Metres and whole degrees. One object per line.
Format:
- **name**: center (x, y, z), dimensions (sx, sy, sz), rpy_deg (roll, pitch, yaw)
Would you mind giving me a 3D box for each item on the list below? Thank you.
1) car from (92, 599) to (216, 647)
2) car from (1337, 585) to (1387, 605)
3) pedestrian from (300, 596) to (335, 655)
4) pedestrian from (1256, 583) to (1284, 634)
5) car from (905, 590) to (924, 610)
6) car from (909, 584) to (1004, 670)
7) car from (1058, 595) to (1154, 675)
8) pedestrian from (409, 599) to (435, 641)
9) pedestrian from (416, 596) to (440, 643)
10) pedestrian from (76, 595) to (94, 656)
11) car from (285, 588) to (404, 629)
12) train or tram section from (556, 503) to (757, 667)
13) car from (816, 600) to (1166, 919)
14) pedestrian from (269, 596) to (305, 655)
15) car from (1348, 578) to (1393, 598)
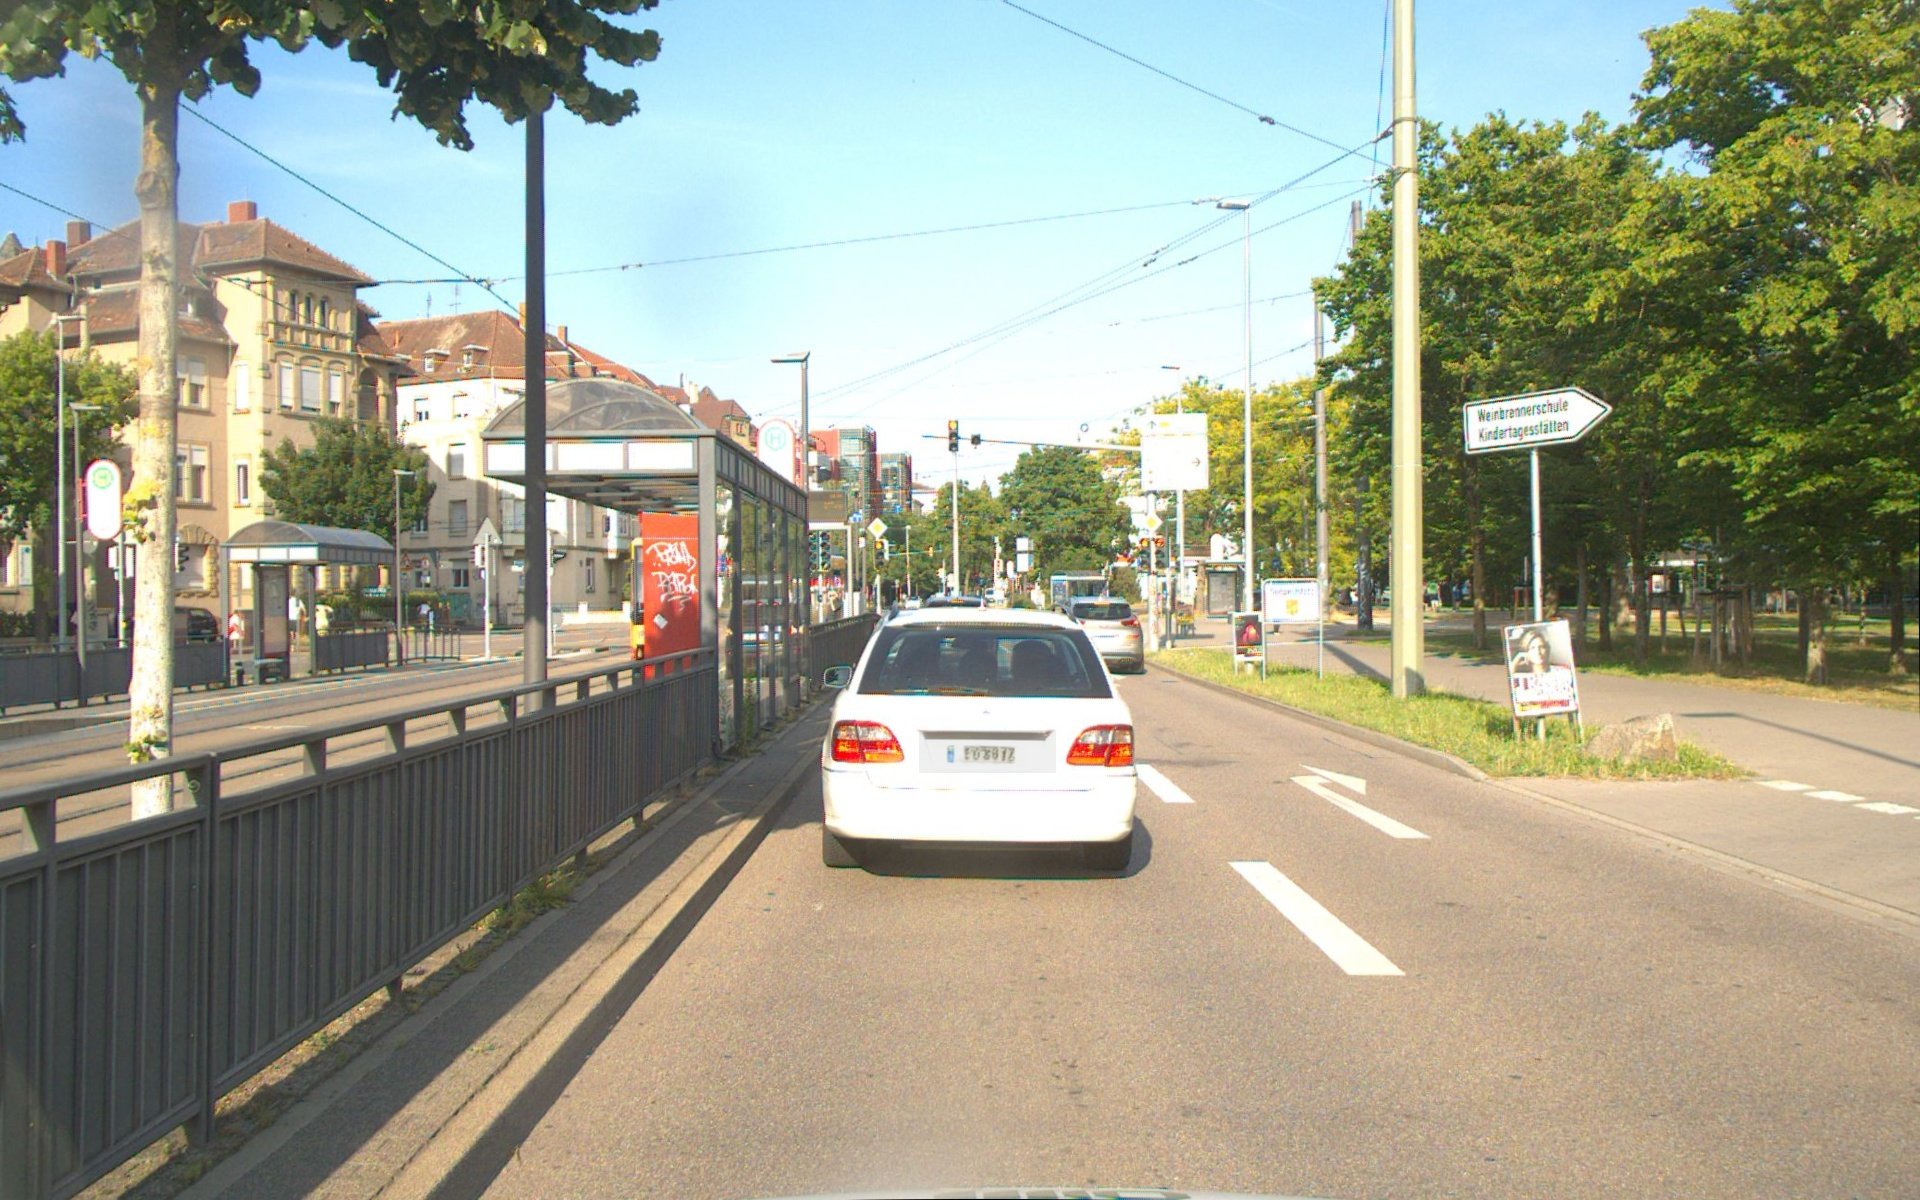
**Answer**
- **car**: center (-30.482, 0.851, 62.585), dimensions (3.903, 1.780, 2.001), rpy_deg (0, 0, 17)
- **car**: center (34.908, -0.418, 143.561), dimensions (3.940, 1.680, 1.982), rpy_deg (-1, 0, -27)
- **pedestrian**: center (-19.696, 0.772, 50.729), dimensions (0.870, 1.784, 0.744), rpy_deg (0, 0, -11)
- **pedestrian**: center (10.258, 0.276, 54.807), dimensions (0.867, 1.681, 0.746), rpy_deg (0, 0, 7)
- **car**: center (-4.939, 0.015, 178.478), dimensions (1.953, 2.049, 3.999), rpy_deg (-1, 0, -1)
- **car**: center (-0.023, 0.530, 35.221), dimensions (1.750, 1.719, 4.002), rpy_deg (0, 0, 4)
- **car**: center (3.159, 0.717, 36.404), dimensions (1.990, 1.633, 4.002), rpy_deg (0, 0, 4)
- **pedestrian**: center (-23.162, 0.864, 71.214), dimensions (0.868, 1.784, 0.746), rpy_deg (0, 0, 3)
- **pedestrian**: center (-20.691, 0.751, 64.289), dimensions (0.651, 1.784, 0.746), rpy_deg (0, 0, 3)
- **pedestrian**: center (-29.884, 0.871, 56.474), dimensions (0.374, 2.049, 0.408), rpy_deg (0, 0, 18)
- **car**: center (-26.472, 0.338, 71.289), dimensions (2.159, 1.656, 4.716), rpy_deg (0, 1, 22)
- **train or tram section**: center (-7.403, -0.400, 42.542), dimensions (2.791, 3.540, 13.199), rpy_deg (0, 1, 0)
- **car**: center (0.041, 0.798, 10.325), dimensions (1.723, 1.530, 3.997), rpy_deg (-2, 0, -4)
- **pedestrian**: center (-20.570, 0.773, 50.534), dimensions (0.870, 1.784, 0.744), rpy_deg (0, 0, -11)
- **car**: center (37.024, -1.058, 149.214), dimensions (3.902, 1.680, 2.002), rpy_deg (-1, 0, 14)
